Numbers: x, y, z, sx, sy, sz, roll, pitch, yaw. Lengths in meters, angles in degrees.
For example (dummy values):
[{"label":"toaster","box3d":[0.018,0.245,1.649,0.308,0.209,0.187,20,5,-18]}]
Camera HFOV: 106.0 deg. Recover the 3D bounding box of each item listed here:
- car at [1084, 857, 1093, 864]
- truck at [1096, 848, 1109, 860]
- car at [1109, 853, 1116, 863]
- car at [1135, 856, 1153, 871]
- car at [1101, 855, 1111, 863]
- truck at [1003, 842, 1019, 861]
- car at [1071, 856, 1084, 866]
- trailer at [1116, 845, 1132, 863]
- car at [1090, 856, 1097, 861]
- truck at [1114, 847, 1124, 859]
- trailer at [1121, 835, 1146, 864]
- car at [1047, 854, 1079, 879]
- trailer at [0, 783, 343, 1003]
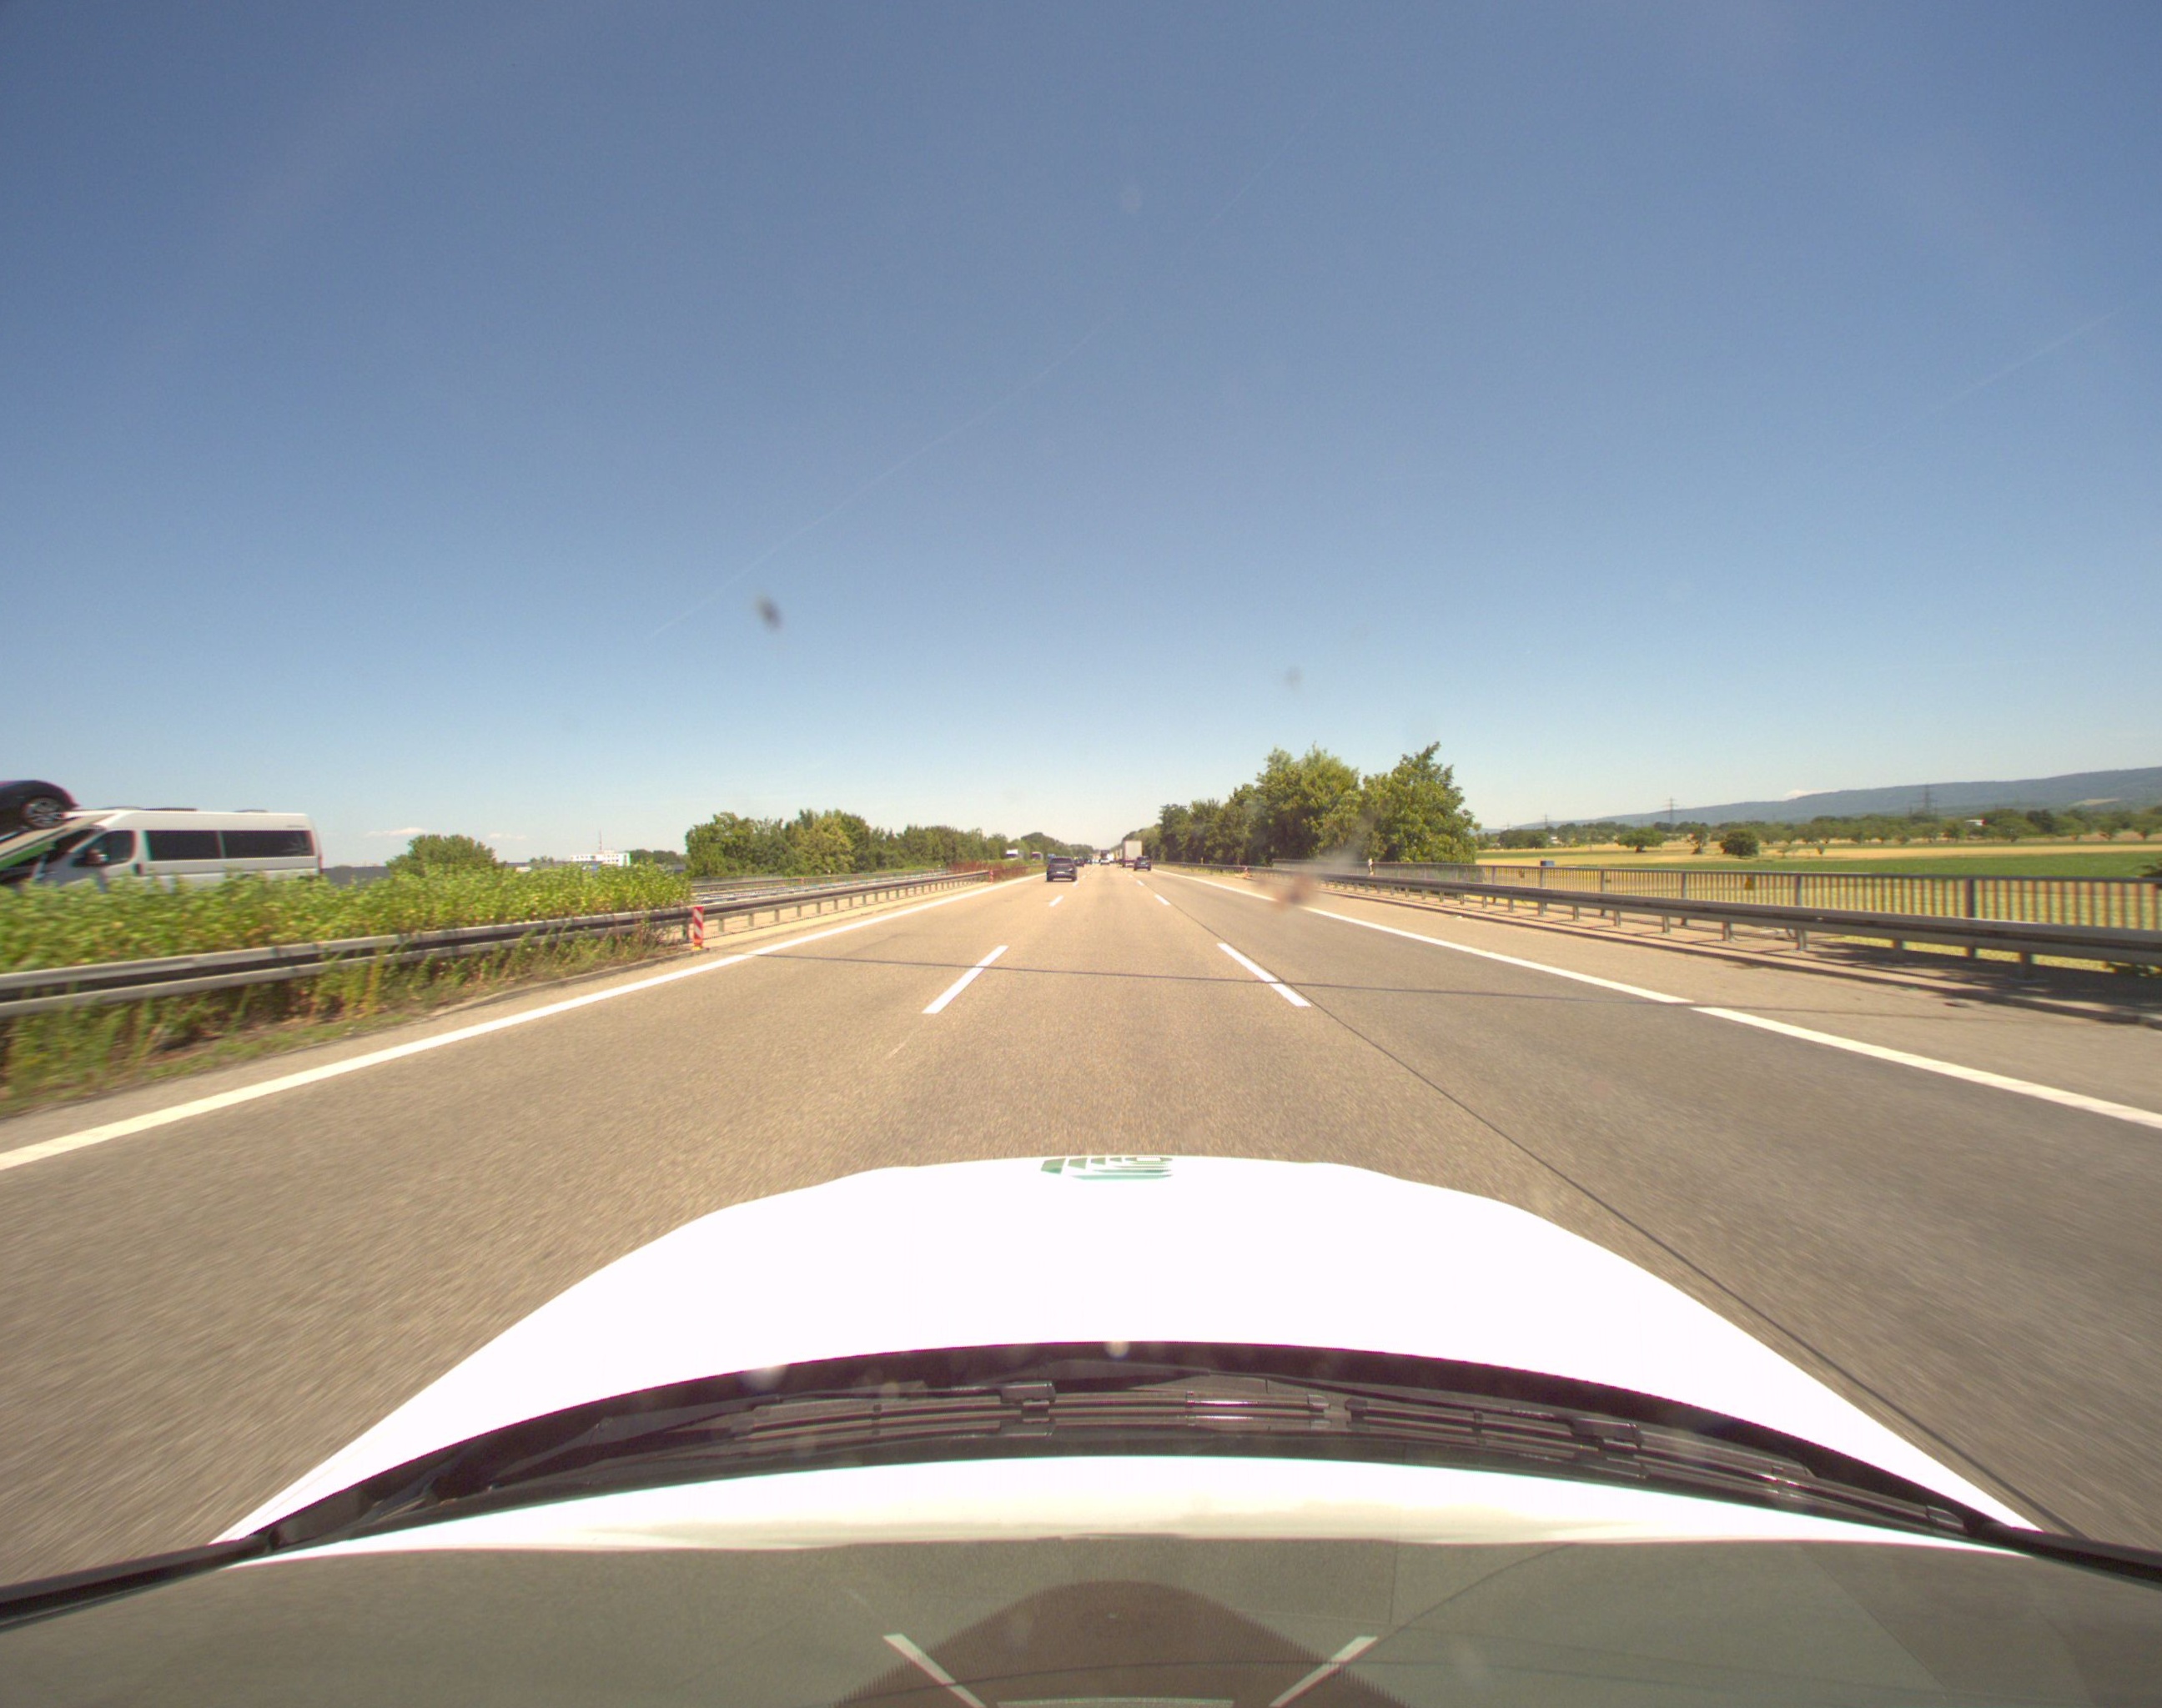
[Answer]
[{"label":"car","box3d":[1.697,1.475,184.699,1.900,1.531,4.287,0,0,2]},{"label":"truck","box3d":[6.469,-0.013,240.513,3.652,3.725,7.114,0,0,3]},{"label":"car","box3d":[8.470,1.032,217.069,1.900,2.425,4.287,0,0,2]},{"label":"car","box3d":[7.014,1.025,90.940,1.838,1.629,4.137,-1,0,2]},{"label":"car","box3d":[5.042,0.929,161.981,1.893,1.531,4.086,0,0,2]},{"label":"truck","box3d":[-16.297,-0.467,189.754,2.906,4.129,6.195,-4,-1,1]},{"label":"car","box3d":[-0.474,1.087,129.746,1.893,1.531,4.086,0,0,2]},{"label":"trailer","box3d":[9.739,0.046,185.233,3.111,3.926,9.938,0,0,1]},{"label":"car","box3d":[3.907,1.367,253.607,1.900,1.531,4.287,0,0,2]},{"label":"truck","box3d":[11.735,-0.253,251.419,2.781,3.725,7.114,0,0,3]},{"label":"trailer","box3d":[8.016,-0.607,125.161,3.421,4.181,13.638,0,-1,2]},{"label":"car","box3d":[-1.093,0.757,51.504,1.752,1.531,4.287,0,0,2]},{"label":"trailer","box3d":[-21.071,0.697,16.747,2.915,3.990,9.659,0,0,0]}]
